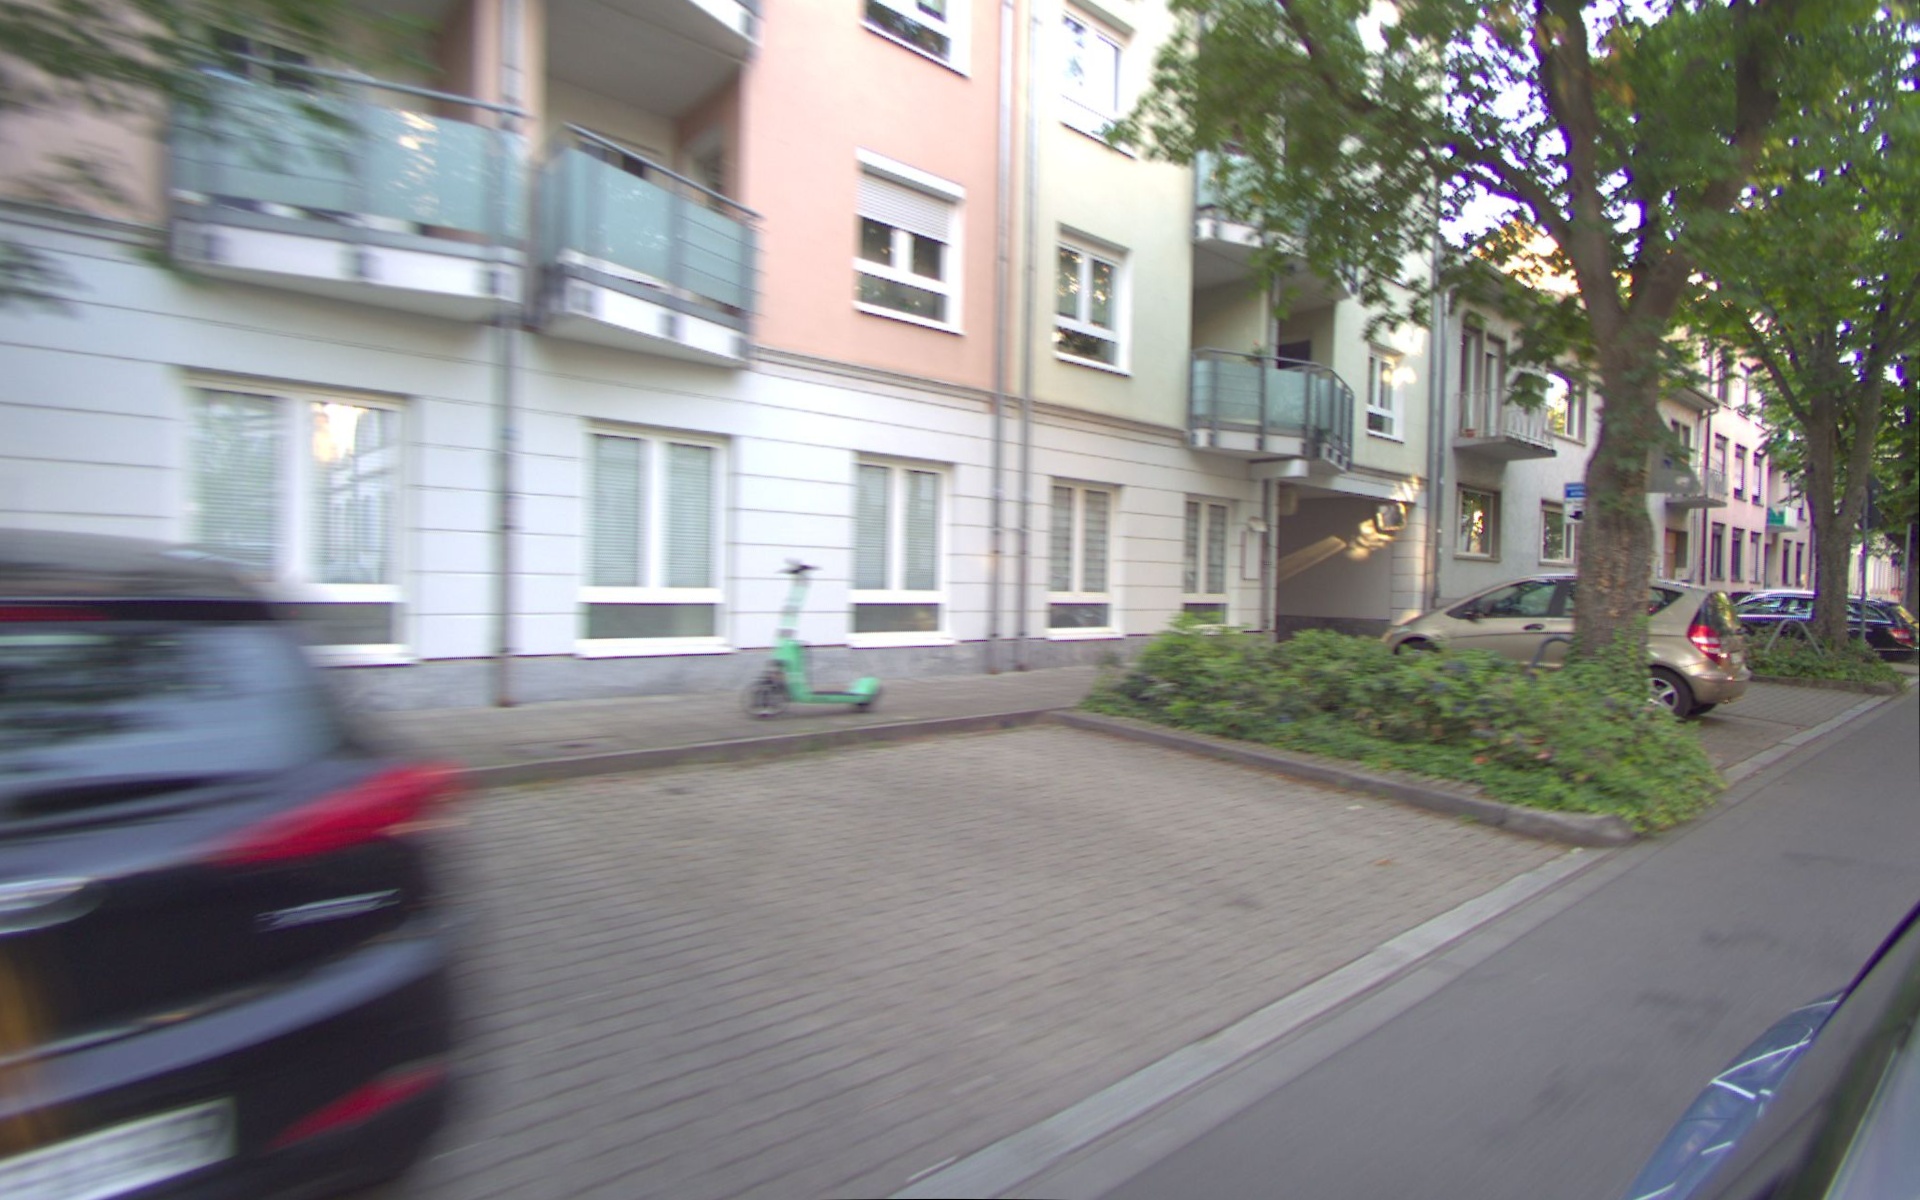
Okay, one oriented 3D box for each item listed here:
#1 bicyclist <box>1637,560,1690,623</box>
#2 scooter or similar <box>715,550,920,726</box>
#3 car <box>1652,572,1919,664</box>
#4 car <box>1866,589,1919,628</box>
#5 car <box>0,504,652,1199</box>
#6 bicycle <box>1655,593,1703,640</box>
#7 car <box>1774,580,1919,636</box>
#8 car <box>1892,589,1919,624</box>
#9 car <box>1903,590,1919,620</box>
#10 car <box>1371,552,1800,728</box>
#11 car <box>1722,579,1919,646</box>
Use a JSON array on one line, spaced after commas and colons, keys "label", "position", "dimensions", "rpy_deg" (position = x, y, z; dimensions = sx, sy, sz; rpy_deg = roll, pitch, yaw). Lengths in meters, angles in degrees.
[{"label": "bicyclist", "position": [18.844, -0.241, 27.106], "dimensions": [1.117, 1.624, 0.971], "rpy_deg": [0, 2, -45]}, {"label": "scooter or similar", "position": [-1.089, 0.253, 7.895], "dimensions": [1.431, 1.217, 0.655], "rpy_deg": [0, 5, -44]}, {"label": "car", "position": [17.178, 0.287, 20.743], "dimensions": [1.974, 1.444, 4.475], "rpy_deg": [0, 4, -37]}, {"label": "car", "position": [38.506, 0.359, 39.856], "dimensions": [1.768, 1.509, 4.085], "rpy_deg": [0, 1, -44]}, {"label": "car", "position": [-2.806, 0.492, 2.918], "dimensions": [4.086, 1.468, 1.904], "rpy_deg": [7, 5, 44]}, {"label": "bicycle", "position": [19.339, 0.404, 27.180], "dimensions": [0.620, 1.178, 3.349], "rpy_deg": [2, 2, 42]}, {"label": "car", "position": [28.245, 0.249, 30.954], "dimensions": [2.005, 1.465, 4.854], "rpy_deg": [0, 4, -39]}, {"label": "car", "position": [44.656, 0.337, 44.723], "dimensions": [1.953, 1.516, 4.883], "rpy_deg": [0, 1, -41]}, {"label": "car", "position": [47.777, 0.302, 48.399], "dimensions": [3.837, 1.428, 1.685], "rpy_deg": [4, 3, 45]}, {"label": "car", "position": [7.379, 0.328, 12.249], "dimensions": [1.883, 1.604, 3.978], "rpy_deg": [0, 4, -41]}, {"label": "car", "position": [23.399, 0.311, 26.846], "dimensions": [1.965, 1.405, 4.691], "rpy_deg": [0, 4, -39]}]
